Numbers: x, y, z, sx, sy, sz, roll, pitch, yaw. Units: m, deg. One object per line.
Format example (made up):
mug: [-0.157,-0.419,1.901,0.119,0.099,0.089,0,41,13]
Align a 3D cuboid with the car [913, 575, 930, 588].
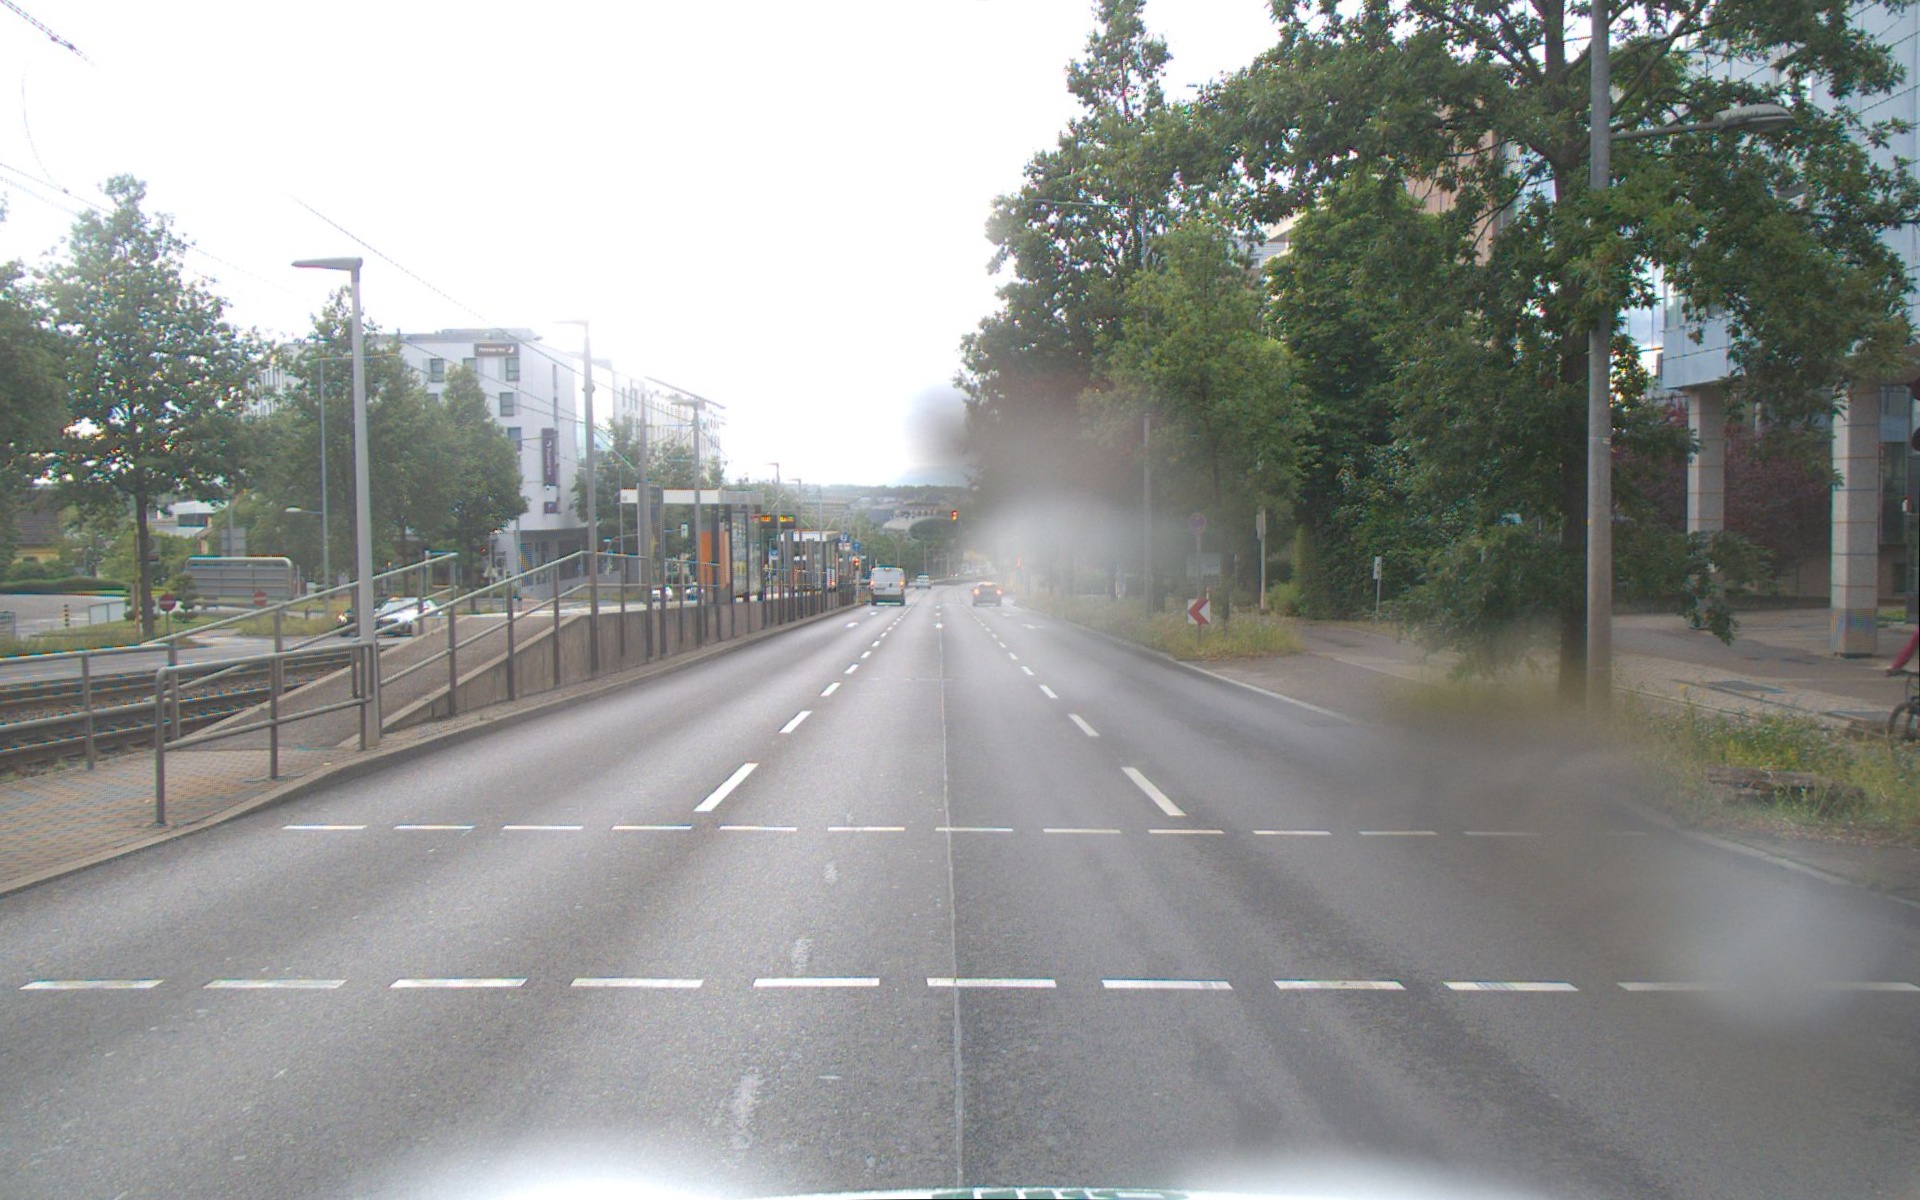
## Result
car: [-4.484,-2.128,191.792,1.746,1.414,4.001,0,1,1]

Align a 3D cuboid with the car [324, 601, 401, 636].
car: [-23.216,0.692,64.431,1.616,1.258,3.968,0,1,-1]

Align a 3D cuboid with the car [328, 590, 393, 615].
car: [-34.499,0.144,95.234,3.297,1.411,1.434,0,1,16]

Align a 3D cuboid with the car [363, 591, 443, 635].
car: [-20.006,0.433,59.578,1.617,1.461,3.878,-2,1,-2]

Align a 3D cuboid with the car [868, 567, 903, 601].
car: [-4.577,-0.982,102.459,2.050,2.089,4.605,0,1,-1]

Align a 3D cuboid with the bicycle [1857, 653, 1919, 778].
bicycle: [9.197,1.100,15.444,0.569,1.107,1.905,1,1,-1]

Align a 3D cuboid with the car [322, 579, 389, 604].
car: [-33.749,-0.482,92.340,3.297,1.411,1.434,0,1,16]

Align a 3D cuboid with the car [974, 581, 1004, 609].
car: [1.800,-0.338,102.816,1.738,1.720,3.845,0,1,-1]

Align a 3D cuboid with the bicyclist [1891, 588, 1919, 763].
bicyclist: [9.185,0.705,15.298,0.633,1.606,0.854,1,0,-1]
